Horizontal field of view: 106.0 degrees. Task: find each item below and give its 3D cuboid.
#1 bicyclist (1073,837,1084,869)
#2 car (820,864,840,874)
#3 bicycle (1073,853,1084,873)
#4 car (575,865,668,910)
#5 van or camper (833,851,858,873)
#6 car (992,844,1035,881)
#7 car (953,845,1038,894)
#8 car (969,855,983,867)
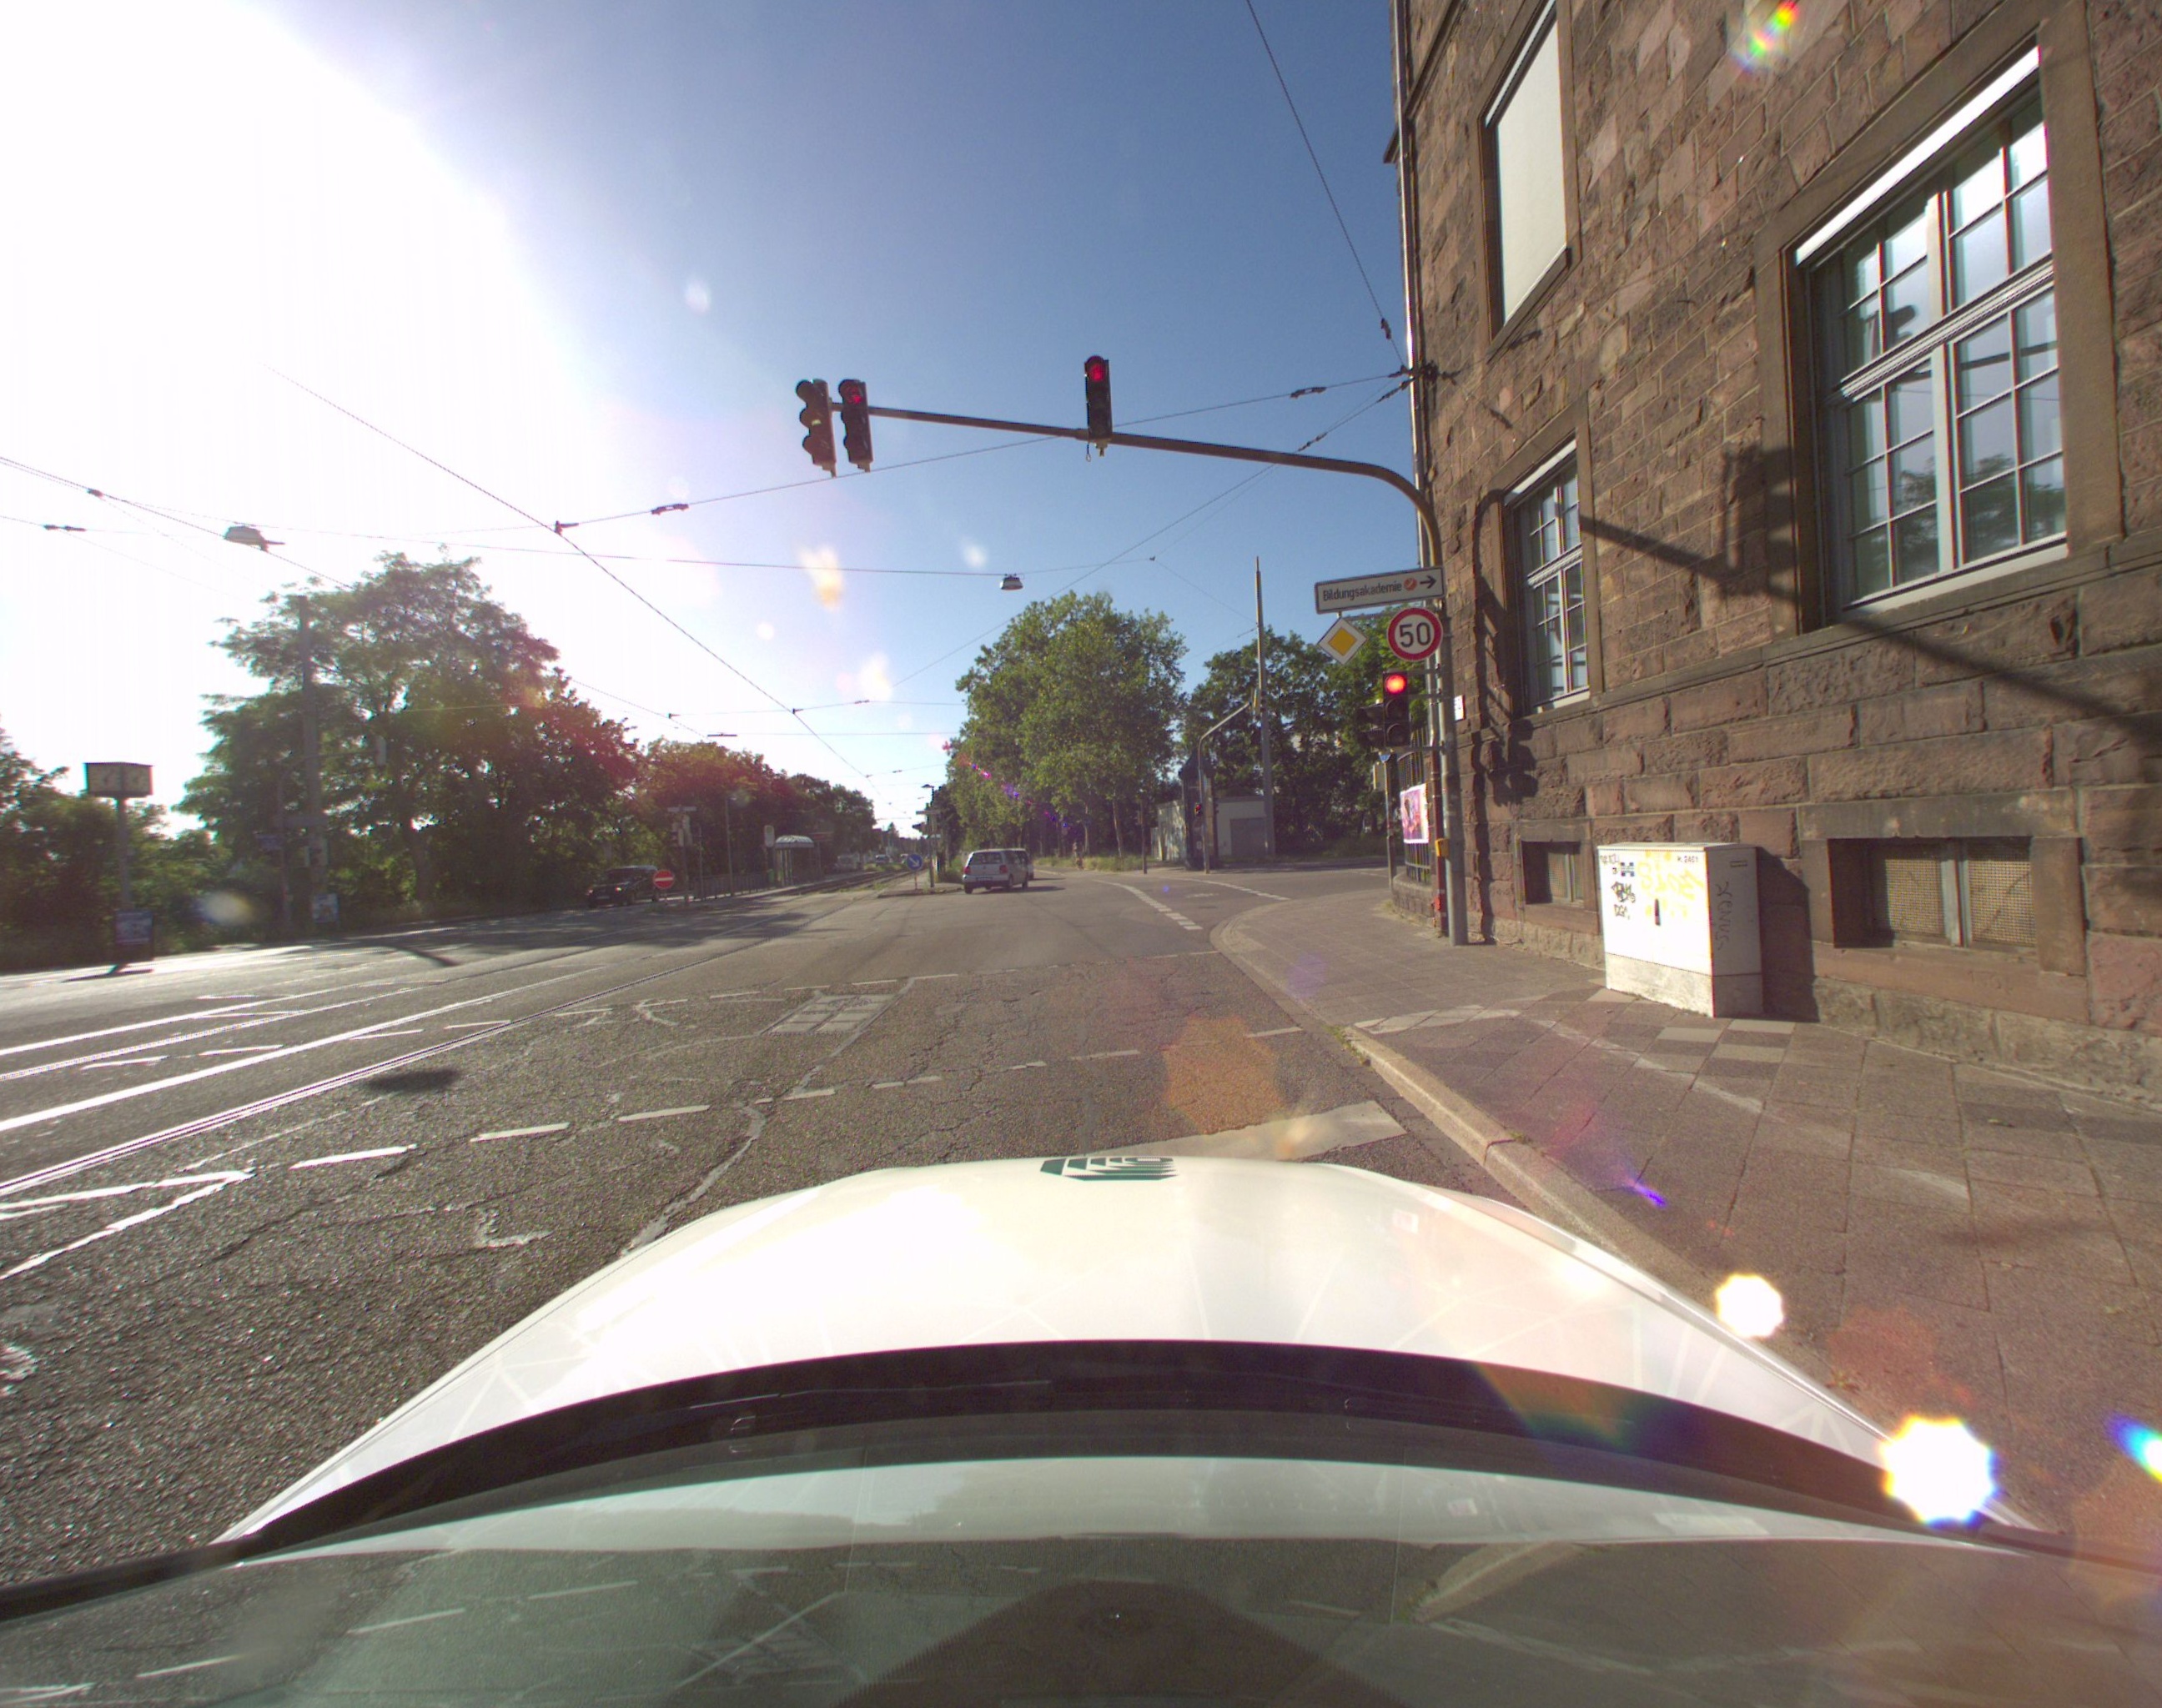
[{"bbox_3d":[-0.149,-0.064,46.432,0.532,1.769,0.713,-4,0,1],"label":"bicyclist"},{"bbox_3d":[-34.387,2.047,111.583,1.919,1.266,3.991,-4,0,-7],"label":"car"},{"bbox_3d":[-0.117,0.491,46.310,0.534,1.066,1.434,-4,0,1],"label":"bicycle"},{"bbox_3d":[-20.910,1.473,37.304,1.994,1.767,5.014,-4,0,-9],"label":"car"},{"bbox_3d":[-35.846,1.242,124.233,2.589,3.106,6.768,-4,0,-9],"label":"van or camper"},{"bbox_3d":[-3.329,0.386,39.430,1.750,1.604,3.739,-4,1,-9],"label":"car"},{"bbox_3d":[-2.898,0.494,28.284,1.855,1.486,3.567,-3,0,12],"label":"car"},{"bbox_3d":[-14.359,0.936,111.422,1.750,1.604,3.569,-4,1,-9],"label":"car"}]
